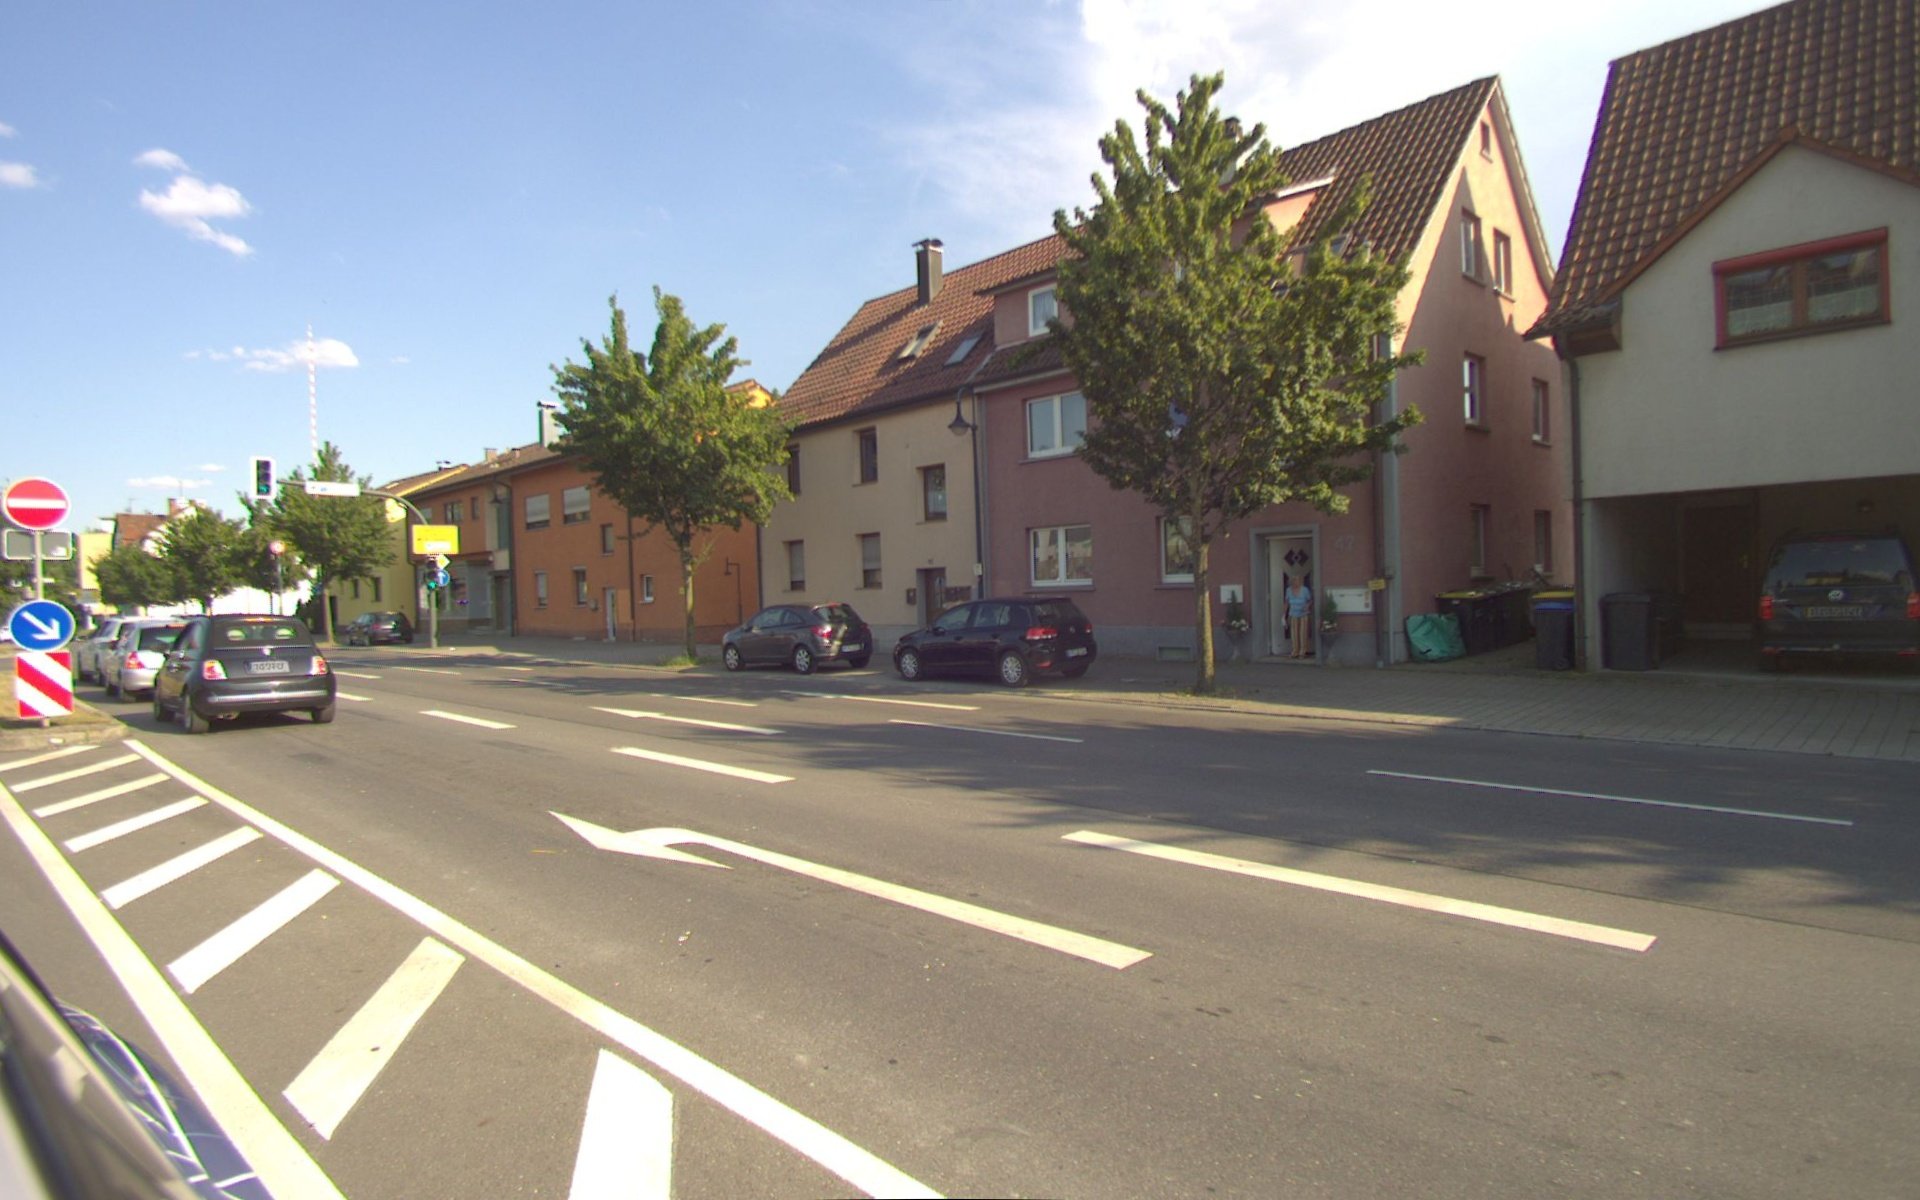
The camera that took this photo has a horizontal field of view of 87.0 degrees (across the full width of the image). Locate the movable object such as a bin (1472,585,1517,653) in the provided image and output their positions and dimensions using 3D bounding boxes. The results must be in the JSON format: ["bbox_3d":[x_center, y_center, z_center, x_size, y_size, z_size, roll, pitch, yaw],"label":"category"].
[{"bbox_3d":[9.300,0.332,17.617,0.498,1.151,0.546,-1,-1,-45],"label":"movable object such as a bin"}]

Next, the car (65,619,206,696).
[{"bbox_3d":[-18.523,1.230,22.661,4.566,1.500,1.815,-2,-1,43],"label":"car"}]

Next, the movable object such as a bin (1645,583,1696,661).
[{"bbox_3d":[10.858,0.332,15.463,0.575,1.151,0.560,-2,-1,38],"label":"movable object such as a bin"}]

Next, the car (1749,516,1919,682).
[{"bbox_3d":[11.853,-0.090,13.400,1.780,1.895,3.778,-1,2,44],"label":"car"}]

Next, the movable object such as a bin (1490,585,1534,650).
[{"bbox_3d":[10.047,0.318,18.427,0.498,1.151,0.546,-1,-1,-45],"label":"movable object such as a bin"}]

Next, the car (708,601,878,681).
[{"bbox_3d":[-3.681,0.874,21.986,3.884,1.522,1.496,-2,1,42],"label":"car"}]

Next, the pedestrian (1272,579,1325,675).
[{"bbox_3d":[5.895,0.463,17.607,0.774,1.619,0.716,-1,-1,26],"label":"pedestrian"}]

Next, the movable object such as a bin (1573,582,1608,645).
[{"bbox_3d":[11.626,0.247,18.660,0.444,1.151,0.397,-2,-1,42],"label":"movable object such as a bin"}]

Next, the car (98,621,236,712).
[{"bbox_3d":[-14.484,1.132,18.415,1.571,1.438,3.580,-1,0,-45],"label":"car"}]

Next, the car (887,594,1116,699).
[{"bbox_3d":[0.637,0.755,17.748,1.646,1.543,3.906,-4,2,-43],"label":"car"}]

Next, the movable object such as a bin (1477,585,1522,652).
[{"bbox_3d":[9.567,0.327,17.956,0.498,1.151,0.546,-1,-1,-45],"label":"movable object such as a bin"}]

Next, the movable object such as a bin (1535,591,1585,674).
[{"bbox_3d":[8.502,0.454,14.338,0.501,1.146,0.470,-2,-1,43],"label":"movable object such as a bin"}]

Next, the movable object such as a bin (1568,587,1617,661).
[{"bbox_3d":[10.034,0.369,16.056,0.540,1.146,0.504,-2,-1,43],"label":"movable object such as a bin"}]

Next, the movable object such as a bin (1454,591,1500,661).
[{"bbox_3d":[8.791,0.437,17.213,0.498,1.151,0.546,-1,-1,-45],"label":"movable object such as a bin"}]

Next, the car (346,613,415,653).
[{"bbox_3d":[-24.447,1.394,42.677,1.574,1.449,3.778,-7,3,-43],"label":"car"}]

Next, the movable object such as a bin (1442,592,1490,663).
[{"bbox_3d":[8.412,0.455,16.830,0.498,1.151,0.546,-1,-1,-45],"label":"movable object such as a bin"}]

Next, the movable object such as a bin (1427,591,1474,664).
[{"bbox_3d":[7.964,0.443,16.428,0.498,1.151,0.530,-1,-1,-45],"label":"movable object such as a bin"}]

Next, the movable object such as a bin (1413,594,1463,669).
[{"bbox_3d":[7.575,0.495,16.050,0.544,1.151,0.530,-1,-1,-45],"label":"movable object such as a bin"}]

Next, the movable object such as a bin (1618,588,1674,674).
[{"bbox_3d":[9.388,0.419,13.852,0.575,1.151,0.560,-2,-1,38],"label":"movable object such as a bin"}]

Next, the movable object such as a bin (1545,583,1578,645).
[{"bbox_3d":[11.295,0.259,19.006,0.444,1.151,0.397,-2,-1,42],"label":"movable object such as a bin"}]

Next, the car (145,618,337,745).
[{"bbox_3d":[-9.897,1.023,13.841,3.507,1.473,1.515,-2,-1,44],"label":"car"}]

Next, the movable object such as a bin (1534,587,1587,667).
[{"bbox_3d":[8.827,0.392,14.881,0.540,1.146,0.504,-2,-1,43],"label":"movable object such as a bin"}]

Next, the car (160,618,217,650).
[{"bbox_3d":[-41.135,1.804,53.945,4.413,1.624,1.667,-2,0,43],"label":"car"}]

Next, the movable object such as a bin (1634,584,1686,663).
[{"bbox_3d":[10.376,0.344,15.008,0.575,1.151,0.560,-2,-1,38],"label":"movable object such as a bin"}]

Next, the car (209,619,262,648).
[{"bbox_3d":[-43.003,1.987,60.047,4.462,1.607,1.834,-2,-1,45],"label":"car"}]

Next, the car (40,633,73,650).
[{"bbox_3d":[-80.045,3.690,89.654,3.999,1.422,1.738,-2,-1,42],"label":"car"}]

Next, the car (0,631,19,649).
[{"bbox_3d":[-80.327,3.384,84.883,3.999,1.422,1.738,-2,-1,42],"label":"car"}]

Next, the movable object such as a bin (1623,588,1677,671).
[{"bbox_3d":[9.900,0.416,14.516,0.575,1.151,0.560,-2,-1,38],"label":"movable object such as a bin"}]
